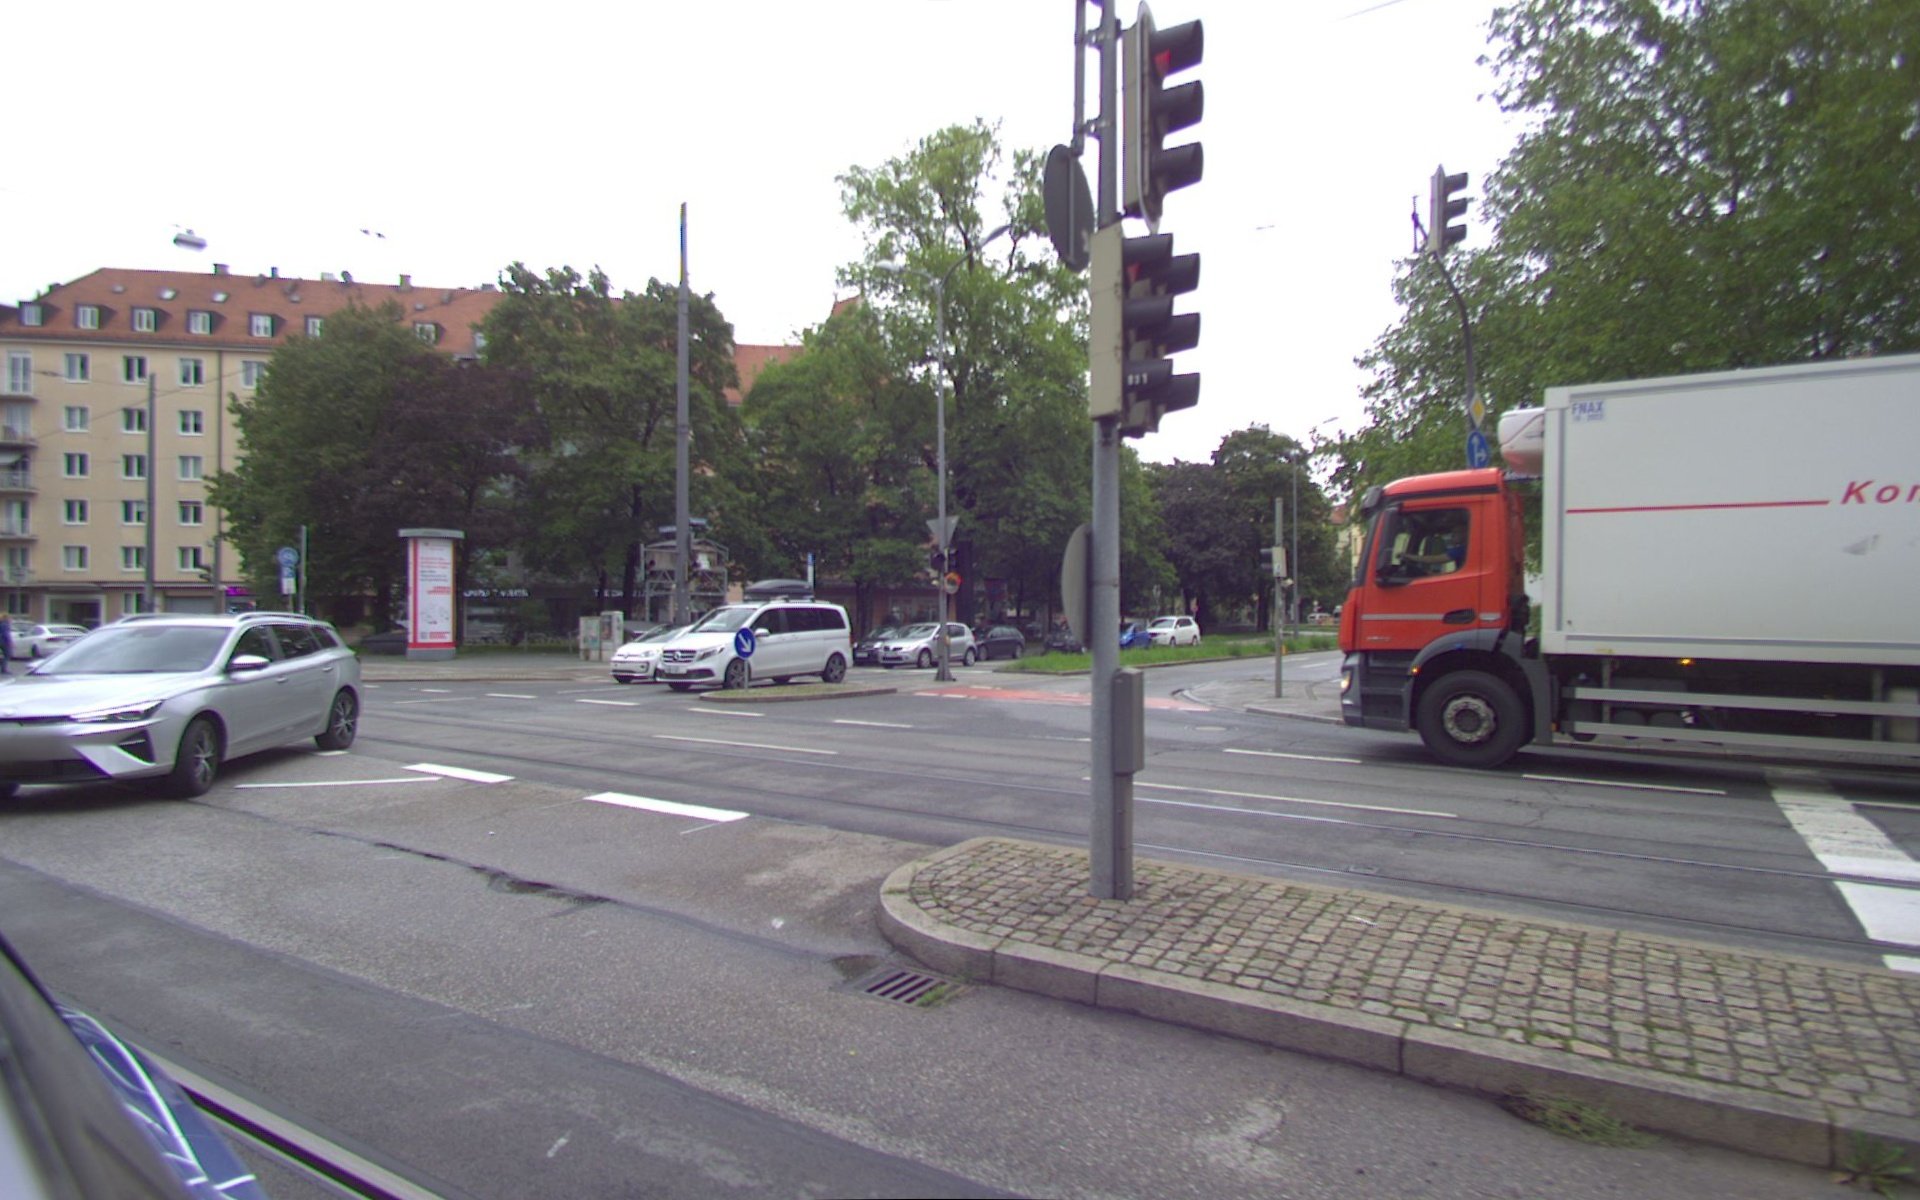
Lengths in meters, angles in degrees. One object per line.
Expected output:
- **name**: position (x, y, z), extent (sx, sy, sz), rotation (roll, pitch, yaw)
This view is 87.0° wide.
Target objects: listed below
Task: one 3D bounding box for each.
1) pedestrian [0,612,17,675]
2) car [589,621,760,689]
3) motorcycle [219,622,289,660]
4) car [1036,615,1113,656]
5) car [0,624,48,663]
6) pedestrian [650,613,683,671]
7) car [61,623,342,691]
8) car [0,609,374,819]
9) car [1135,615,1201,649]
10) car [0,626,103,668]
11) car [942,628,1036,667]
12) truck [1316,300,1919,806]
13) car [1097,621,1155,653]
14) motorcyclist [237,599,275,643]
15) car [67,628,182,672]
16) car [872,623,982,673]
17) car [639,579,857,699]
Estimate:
- **pedestrian**: position (-25.647, 1.163, 26.923), extent (0.542, 1.675, 0.704), rotation (-2, -2, -14)
- **car**: position (-7.083, 1.322, 25.514), extent (1.768, 1.536, 4.168), rotation (-2, -2, 28)
- **motorcycle**: position (-24.126, 1.395, 34.614), extent (2.003, 1.178, 0.630), rotation (1, 4, 5)
- **car**: position (5.489, 1.636, 47.874), extent (1.931, 1.833, 4.506), rotation (-1, -1, 31)
- **car**: position (-37.371, 1.663, 39.326), extent (4.360, 1.418, 1.712), rotation (-1, -1, 31)
- **pedestrian**: position (-8.709, 1.234, 30.025), extent (0.719, 1.673, 0.539), rotation (3, 2, 35)
- **car**: position (-16.500, 1.211, 22.213), extent (4.725, 1.400, 1.731), rotation (0, -1, -5)
- **car**: position (-7.483, 0.917, 9.570), extent (1.749, 1.536, 4.213), rotation (-1, -2, -5)
- **car**: position (11.804, 1.780, 57.163), extent (1.846, 1.870, 4.963), rotation (-1, -2, 35)
- **car**: position (-32.972, 1.656, 36.611), extent (4.360, 1.418, 1.712), rotation (-1, -1, 31)
- **car**: position (1.285, 1.925, 42.139), extent (1.768, 1.472, 4.589), rotation (-1, -1, 33)
- **truck**: position (9.311, -0.354, 8.472), extent (11.686, 4.011, 2.716), rotation (-1, -2, 35)
- **car**: position (8.598, 1.874, 52.228), extent (1.521, 1.561, 3.618), rotation (-1, -2, 35)
- **motorcyclist**: position (-24.115, 0.713, 34.662), extent (0.870, 1.454, 0.620), rotation (-1, 0, 3)
- **car**: position (-27.422, 1.602, 33.192), extent (3.986, 1.326, 1.712), rotation (-1, -1, 31)
- **car**: position (-1.032, 1.565, 33.786), extent (1.769, 1.536, 4.167), rotation (-2, -2, 29)
- **car**: position (-4.550, 0.811, 22.492), extent (1.908, 2.369, 4.890), rotation (-1, -1, 32)
